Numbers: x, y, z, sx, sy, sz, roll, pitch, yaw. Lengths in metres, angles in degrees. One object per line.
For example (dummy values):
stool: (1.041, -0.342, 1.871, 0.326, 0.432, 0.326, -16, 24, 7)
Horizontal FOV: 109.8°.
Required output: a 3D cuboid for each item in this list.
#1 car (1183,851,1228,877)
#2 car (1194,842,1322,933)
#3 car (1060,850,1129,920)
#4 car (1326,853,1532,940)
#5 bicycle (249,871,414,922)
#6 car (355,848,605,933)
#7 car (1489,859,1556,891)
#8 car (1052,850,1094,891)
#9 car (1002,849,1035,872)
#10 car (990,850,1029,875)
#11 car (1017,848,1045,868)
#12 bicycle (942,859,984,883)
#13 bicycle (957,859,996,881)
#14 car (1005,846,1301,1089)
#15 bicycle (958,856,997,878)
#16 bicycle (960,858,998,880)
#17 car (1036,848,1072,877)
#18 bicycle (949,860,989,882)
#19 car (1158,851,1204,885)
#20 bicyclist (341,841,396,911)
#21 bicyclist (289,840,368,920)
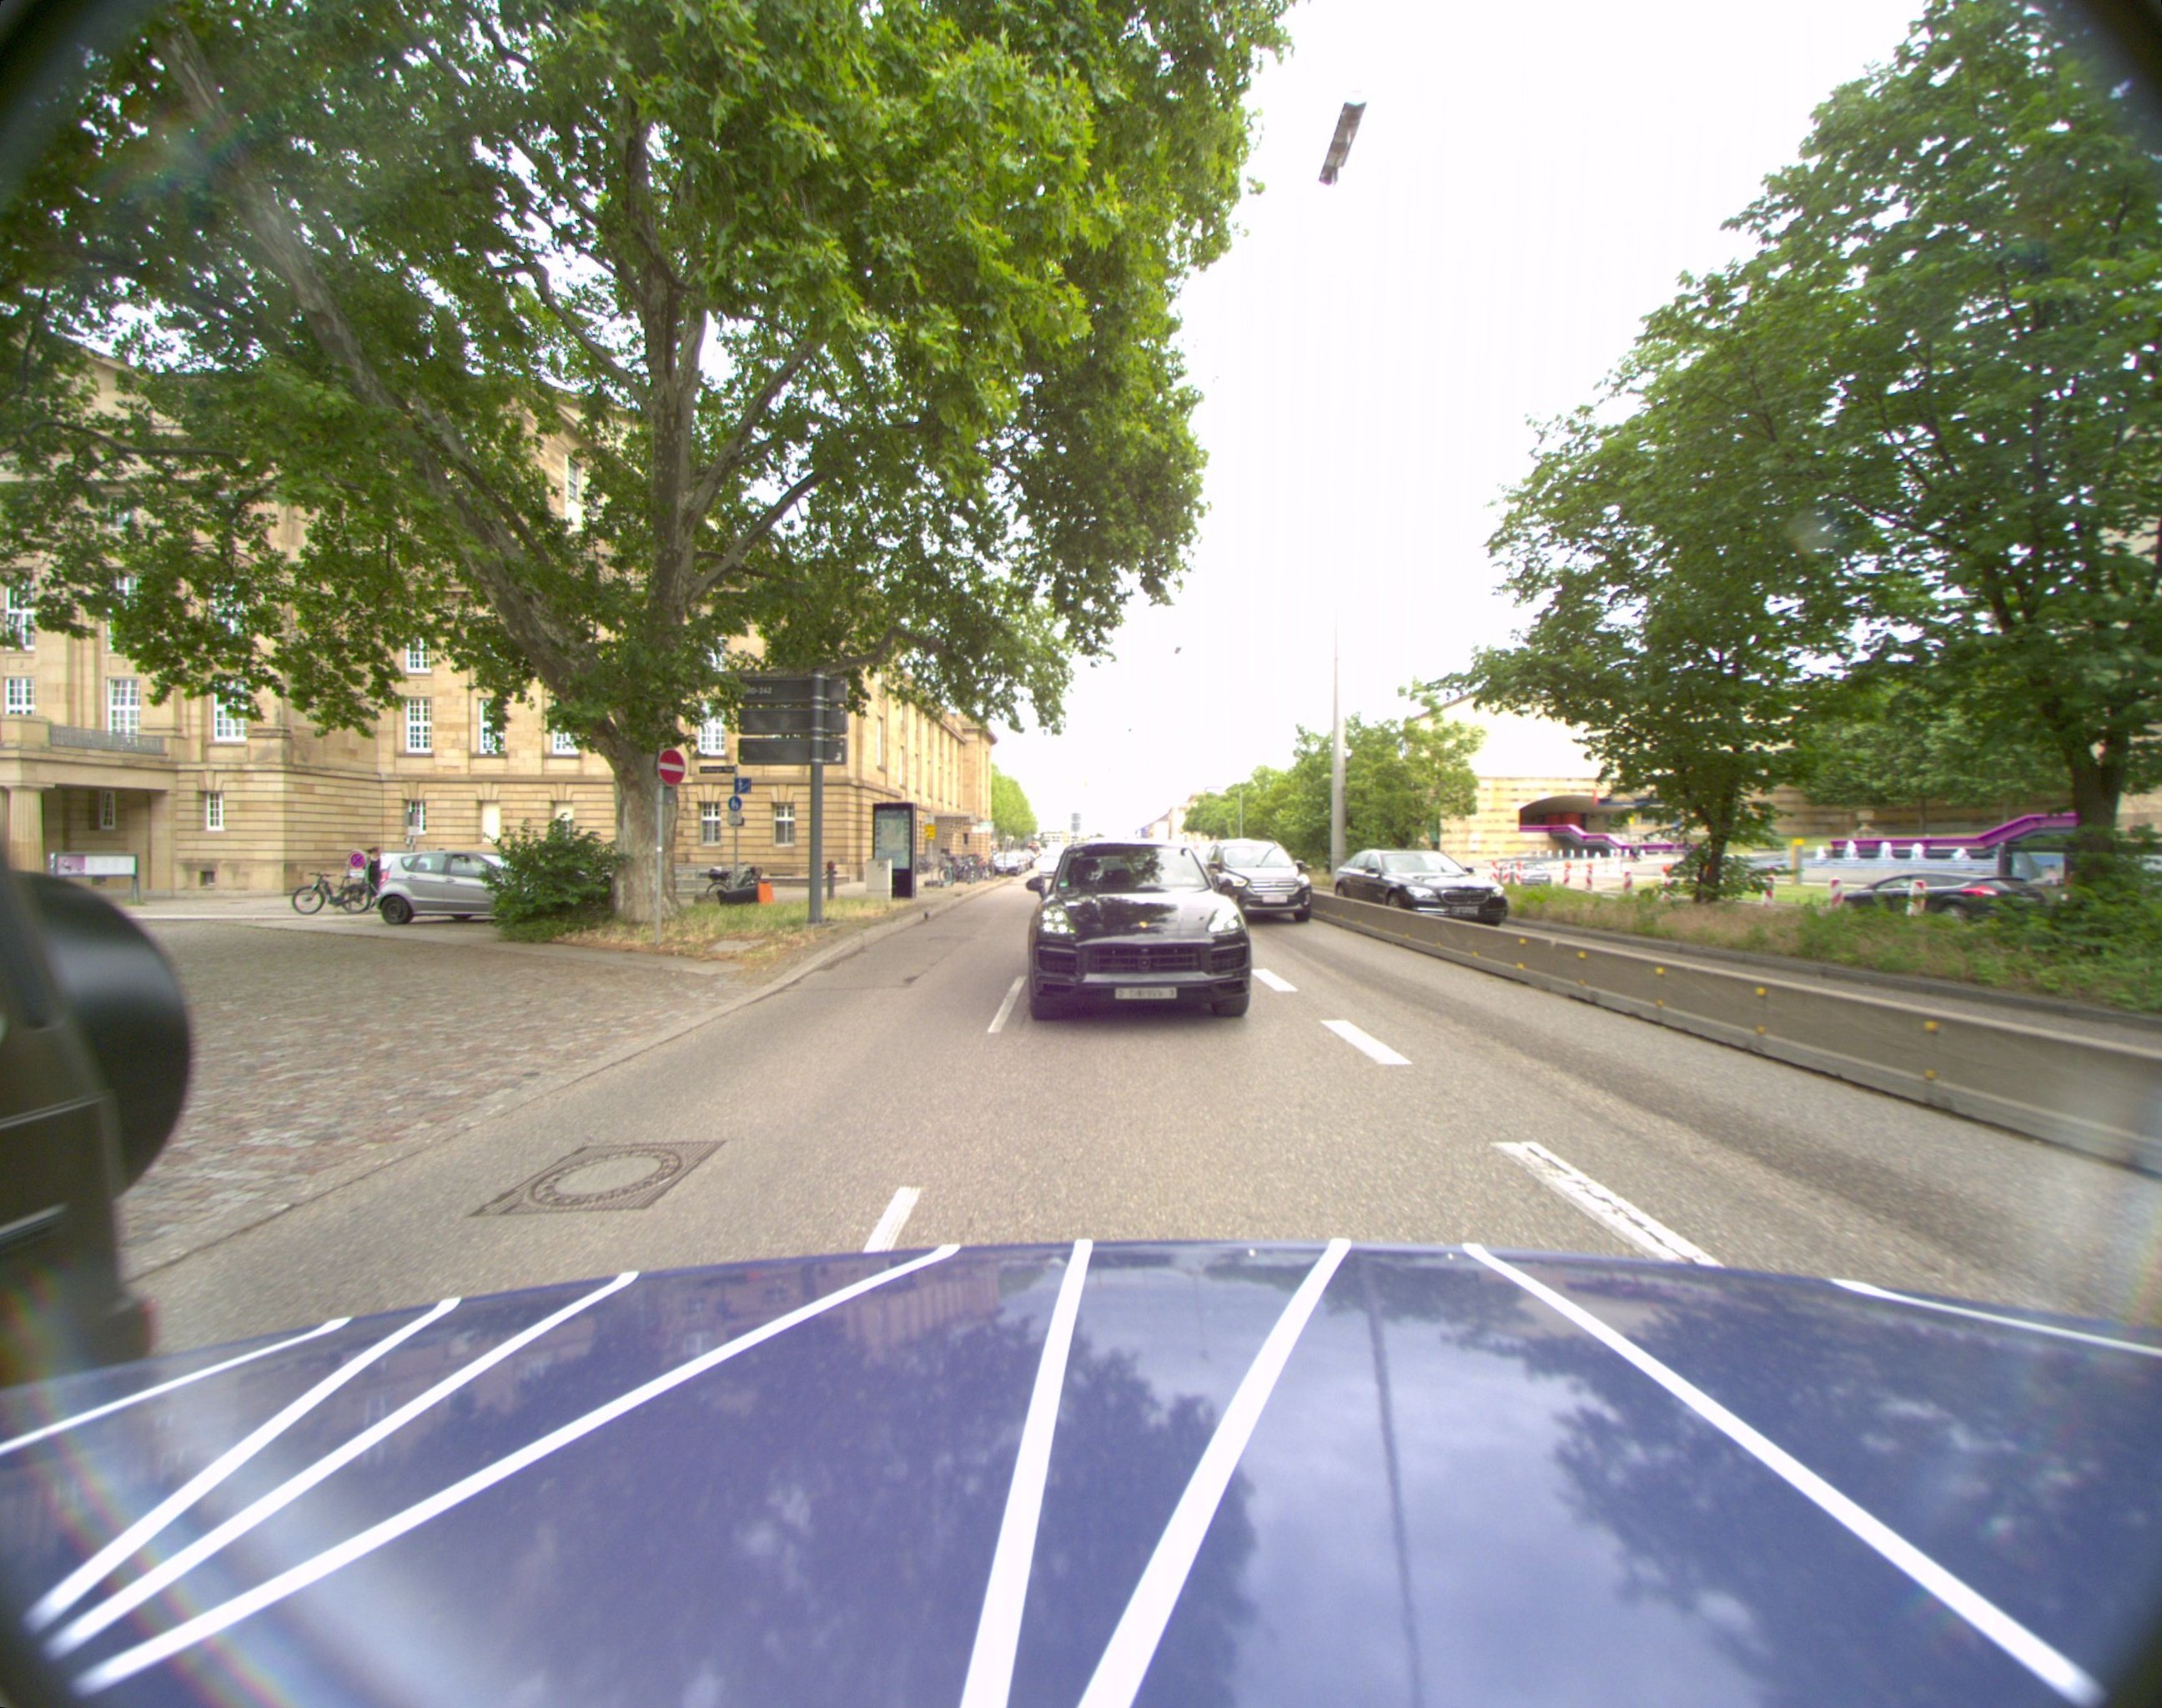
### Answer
car: (7.420, 0.543, 45.634, 1.998, 1.474, 4.809, 0, 0, 1)
car: (3.728, 0.633, 16.836, 1.898, 1.705, 4.659, -1, 0, 2)
car: (0.368, 0.698, 19.256, 1.582, 1.600, 3.578, 0, 1, 2)
car: (6.688, 0.717, 15.305, 1.998, 1.474, 4.809, 0, 0, 1)
bicycle: (-19.222, 1.073, 19.585, 2.846, 1.178, 1.096, -1, 1, -15)
car: (-12.986, 0.745, 16.595, 3.997, 1.587, 1.734, -2, 1, 1)
car: (23.769, 1.097, 41.058, 1.582, 1.600, 3.578, 0, 1, 2)
car: (-0.297, 0.631, 31.422, 1.582, 1.600, 3.578, 0, 1, 2)
car: (-4.663, 0.453, 57.028, 1.867, 1.585, 4.000, 0, 1, 4)
car: (-4.588, 0.521, 49.229, 1.843, 1.522, 4.000, 0, 1, 4)
car: (-4.248, 0.342, 64.912, 1.867, 1.585, 4.000, 0, 1, 4)
bicycle: (-5.510, 0.785, 35.499, 1.918, 1.092, 0.541, 0, 1, -6)
bicycle: (-5.089, 0.777, 37.084, 1.841, 1.066, 0.532, 0, 1, -7)
car: (0.473, 0.786, 7.747, 2.061, 1.616, 4.600, -3, 1, -1)
bicycle: (-5.398, 0.675, 39.553, 1.939, 1.126, 0.540, 0, 1, -18)
bicycle: (-5.093, 0.760, 38.027, 1.842, 1.066, 0.531, 0, 1, -18)
car: (-1.578, 0.470, 45.617, 1.695, 1.585, 4.000, 0, 1, 4)
bicycle: (-5.333, 0.803, 36.178, 1.841, 1.066, 0.619, 0, 1, -6)
car: (4.940, 0.641, 38.005, 1.767, 1.507, 4.151, -1, 1, 0)
bicyclist: (-21.063, 0.636, 22.484, 0.879, 2.002, 0.842, -3, 2, -24)
bicyclist: (-19.442, 0.643, 19.666, 1.013, 2.002, 1.102, -1, 0, -16)
